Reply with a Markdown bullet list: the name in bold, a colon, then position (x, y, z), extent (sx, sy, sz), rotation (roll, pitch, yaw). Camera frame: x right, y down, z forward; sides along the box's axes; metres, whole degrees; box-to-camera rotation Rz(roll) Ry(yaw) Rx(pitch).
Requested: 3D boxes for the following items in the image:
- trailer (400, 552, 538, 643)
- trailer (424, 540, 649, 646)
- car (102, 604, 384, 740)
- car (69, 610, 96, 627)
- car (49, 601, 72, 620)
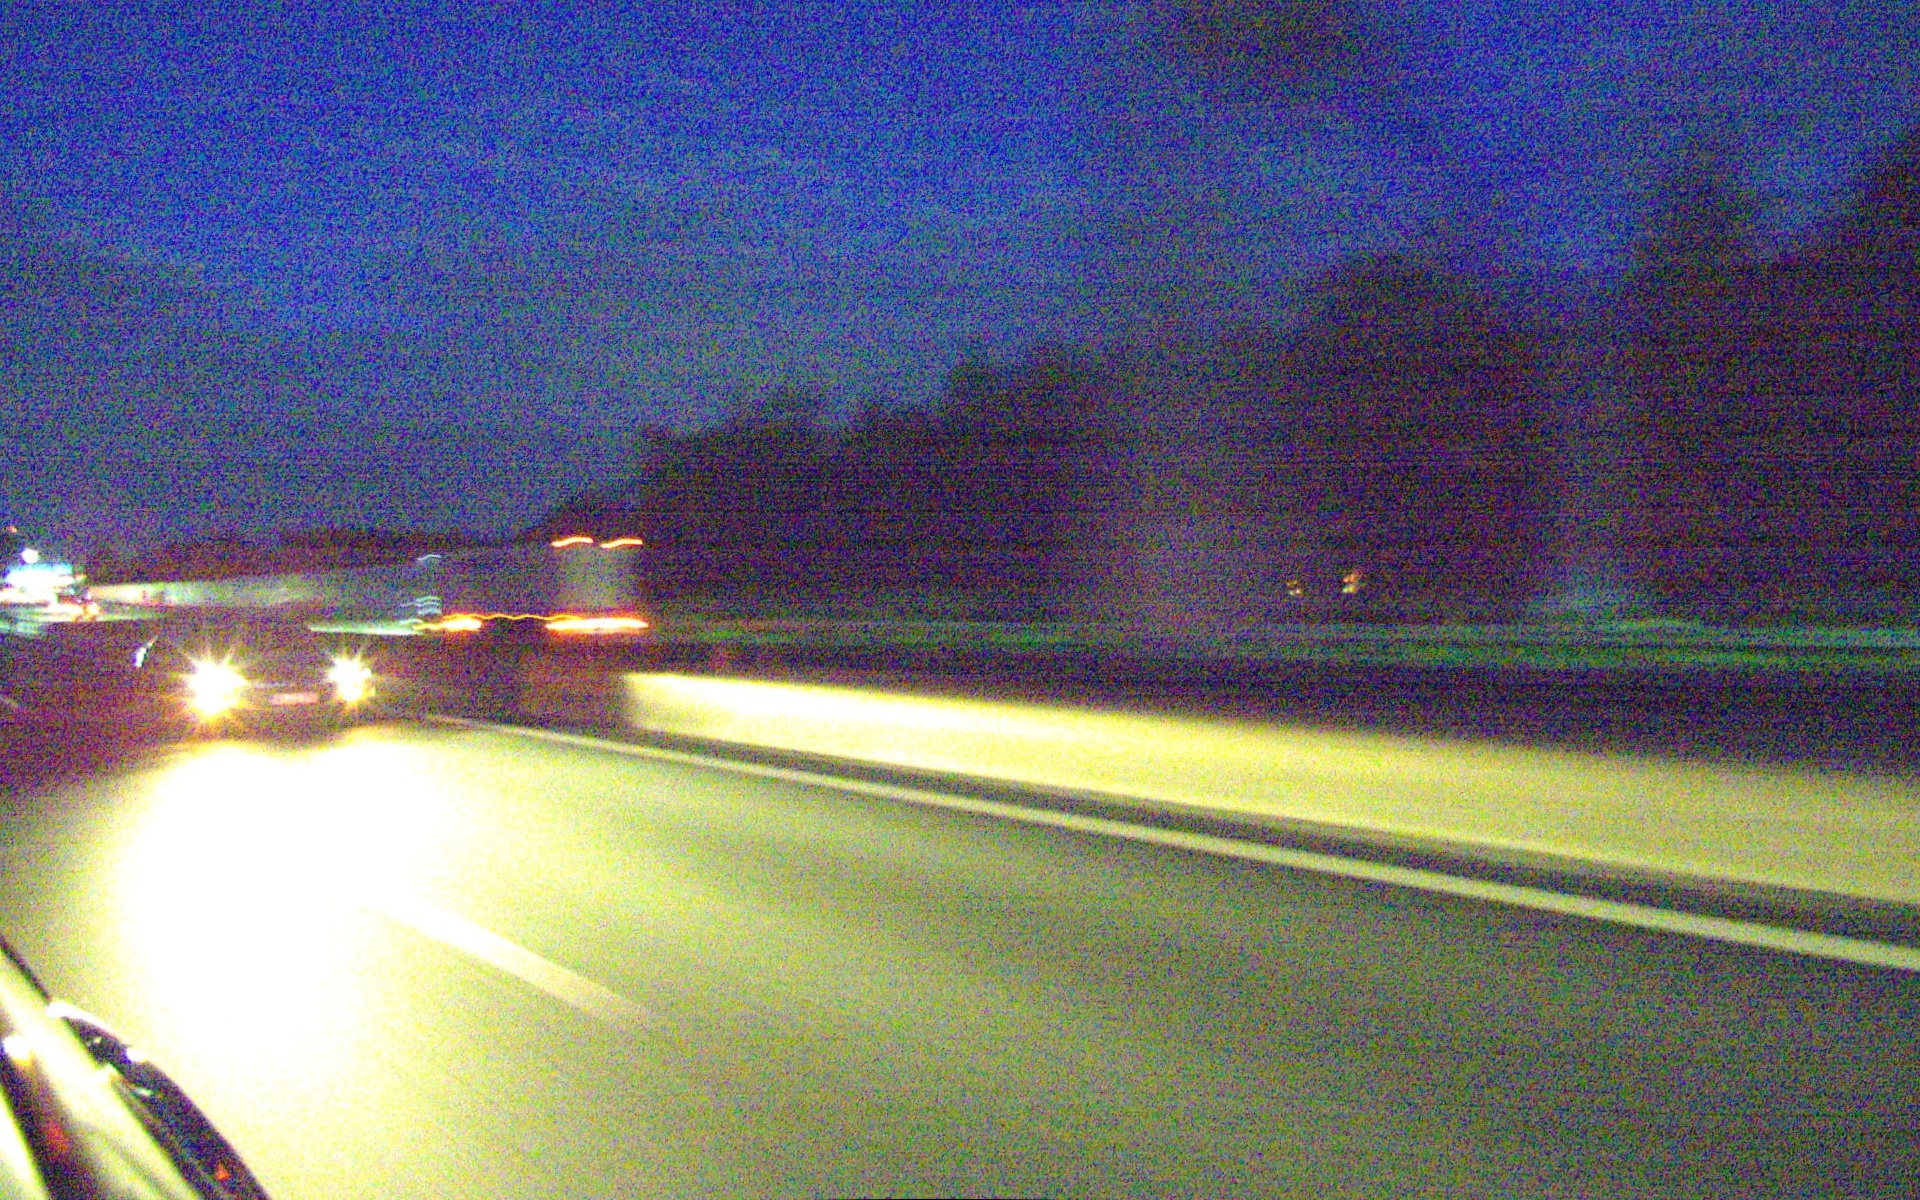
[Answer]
- **trailer**: position (-23.646, -0.085, 48.560), extent (7.350, 4.010, 3.394), rotation (-1, 0, 42)
- **trailer**: position (-18.935, -0.178, 44.307), extent (14.044, 4.010, 3.394), rotation (-1, 0, 42)
- **car**: position (-10.254, 0.927, 14.248), extent (5.648, 1.530, 1.973), rotation (-3, -1, 41)
- **car**: position (-97.860, 2.026, 112.866), extent (4.673, 1.706, 1.803), rotation (1, 1, 43)
- **car**: position (-154.140, 1.777, 173.380), extent (2.621, 3.108, 8.220), rotation (-1, 0, -44)
